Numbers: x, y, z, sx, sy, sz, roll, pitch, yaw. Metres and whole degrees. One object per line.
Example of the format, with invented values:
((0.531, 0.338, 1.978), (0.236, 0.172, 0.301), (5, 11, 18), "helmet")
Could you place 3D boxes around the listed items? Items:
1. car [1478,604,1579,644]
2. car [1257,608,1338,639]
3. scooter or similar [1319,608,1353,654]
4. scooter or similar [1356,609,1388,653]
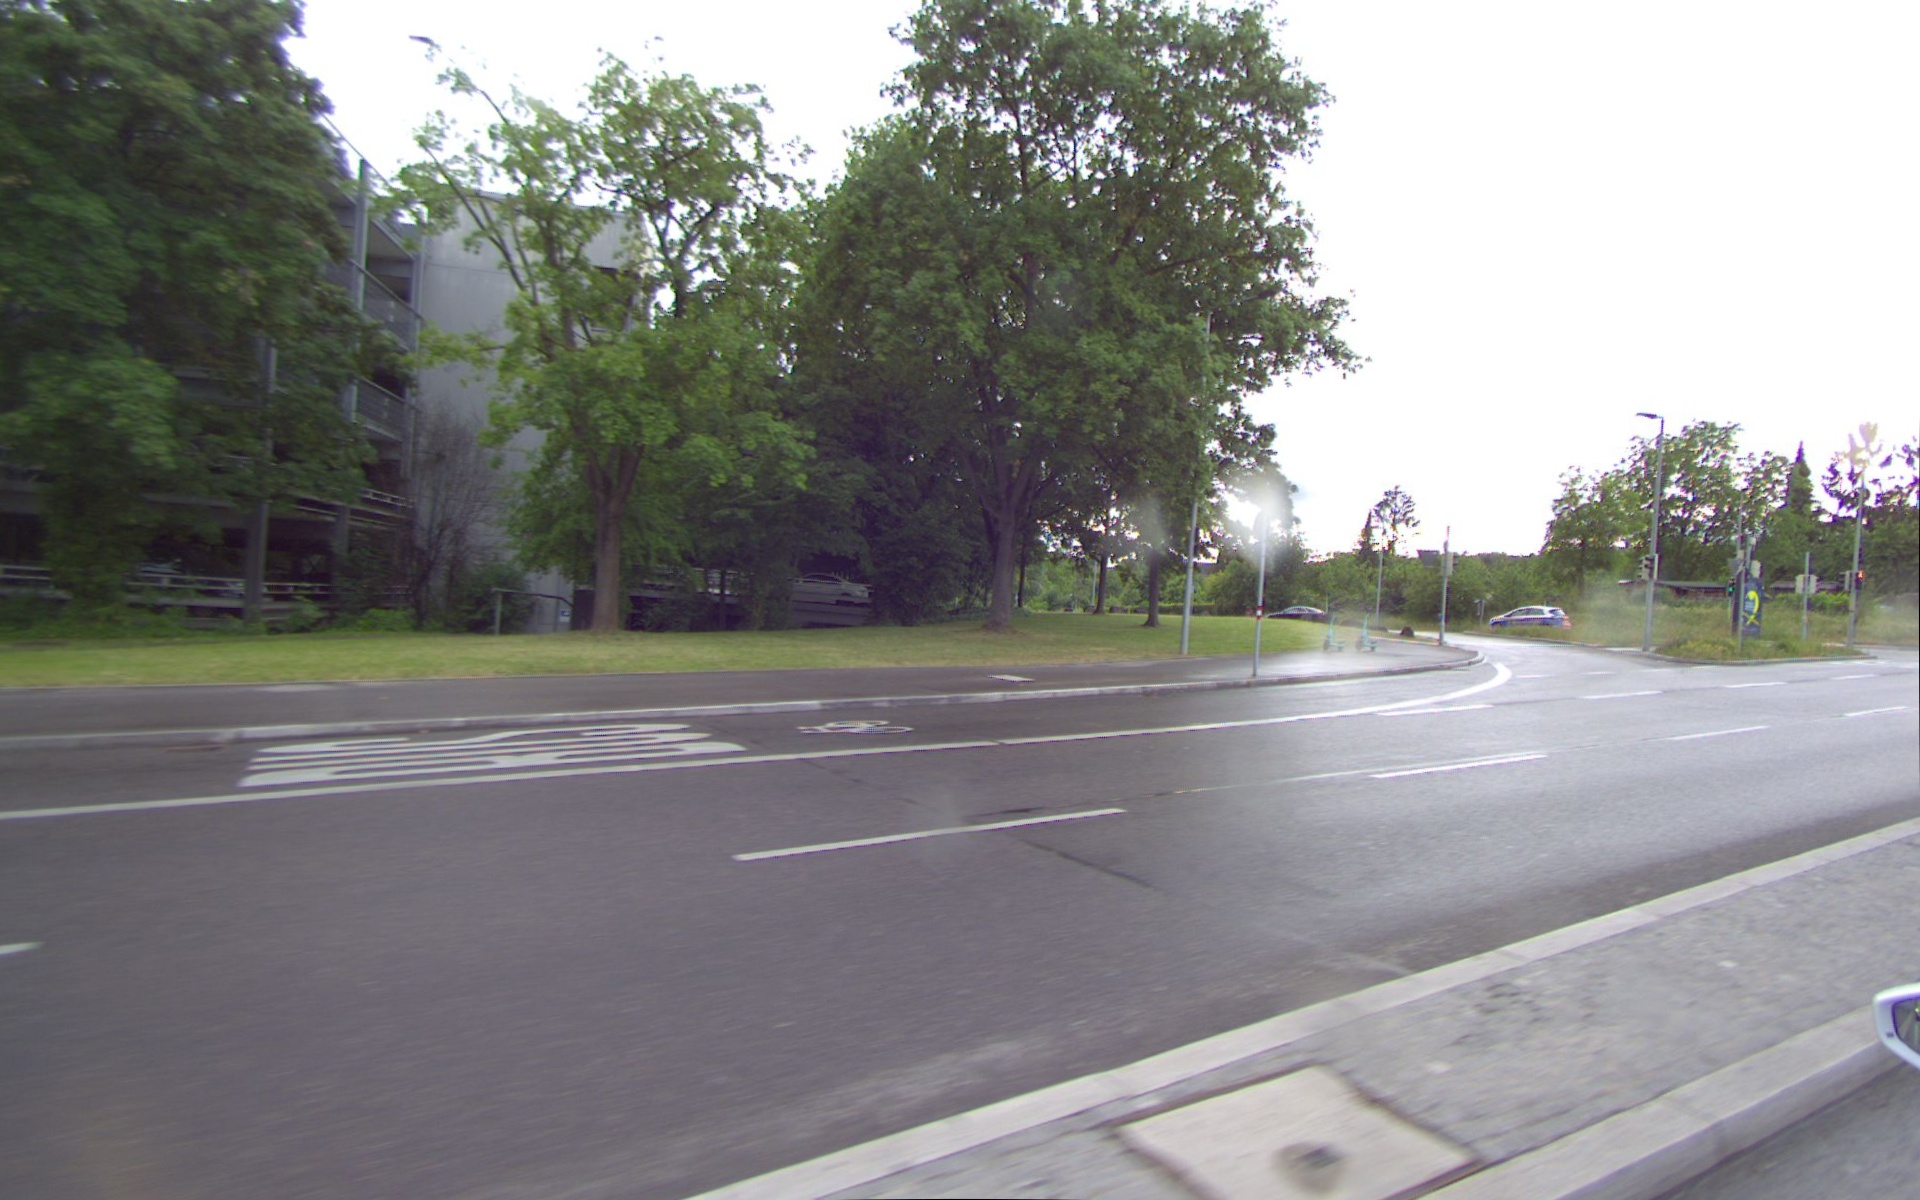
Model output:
((30.210, 1.247, 53.508), (2.059, 1.741, 4.164), (3, 2, -30), "car")
((21.948, 1.526, 65.490), (2.152, 1.603, 4.618), (3, 2, -35), "car")
((10.453, 0.858, 27.909), (1.299, 1.234, 0.308), (0, 2, -44), "scooter or similar")
((11.845, 0.875, 28.847), (1.299, 1.234, 0.308), (0, 2, -44), "scooter or similar")
